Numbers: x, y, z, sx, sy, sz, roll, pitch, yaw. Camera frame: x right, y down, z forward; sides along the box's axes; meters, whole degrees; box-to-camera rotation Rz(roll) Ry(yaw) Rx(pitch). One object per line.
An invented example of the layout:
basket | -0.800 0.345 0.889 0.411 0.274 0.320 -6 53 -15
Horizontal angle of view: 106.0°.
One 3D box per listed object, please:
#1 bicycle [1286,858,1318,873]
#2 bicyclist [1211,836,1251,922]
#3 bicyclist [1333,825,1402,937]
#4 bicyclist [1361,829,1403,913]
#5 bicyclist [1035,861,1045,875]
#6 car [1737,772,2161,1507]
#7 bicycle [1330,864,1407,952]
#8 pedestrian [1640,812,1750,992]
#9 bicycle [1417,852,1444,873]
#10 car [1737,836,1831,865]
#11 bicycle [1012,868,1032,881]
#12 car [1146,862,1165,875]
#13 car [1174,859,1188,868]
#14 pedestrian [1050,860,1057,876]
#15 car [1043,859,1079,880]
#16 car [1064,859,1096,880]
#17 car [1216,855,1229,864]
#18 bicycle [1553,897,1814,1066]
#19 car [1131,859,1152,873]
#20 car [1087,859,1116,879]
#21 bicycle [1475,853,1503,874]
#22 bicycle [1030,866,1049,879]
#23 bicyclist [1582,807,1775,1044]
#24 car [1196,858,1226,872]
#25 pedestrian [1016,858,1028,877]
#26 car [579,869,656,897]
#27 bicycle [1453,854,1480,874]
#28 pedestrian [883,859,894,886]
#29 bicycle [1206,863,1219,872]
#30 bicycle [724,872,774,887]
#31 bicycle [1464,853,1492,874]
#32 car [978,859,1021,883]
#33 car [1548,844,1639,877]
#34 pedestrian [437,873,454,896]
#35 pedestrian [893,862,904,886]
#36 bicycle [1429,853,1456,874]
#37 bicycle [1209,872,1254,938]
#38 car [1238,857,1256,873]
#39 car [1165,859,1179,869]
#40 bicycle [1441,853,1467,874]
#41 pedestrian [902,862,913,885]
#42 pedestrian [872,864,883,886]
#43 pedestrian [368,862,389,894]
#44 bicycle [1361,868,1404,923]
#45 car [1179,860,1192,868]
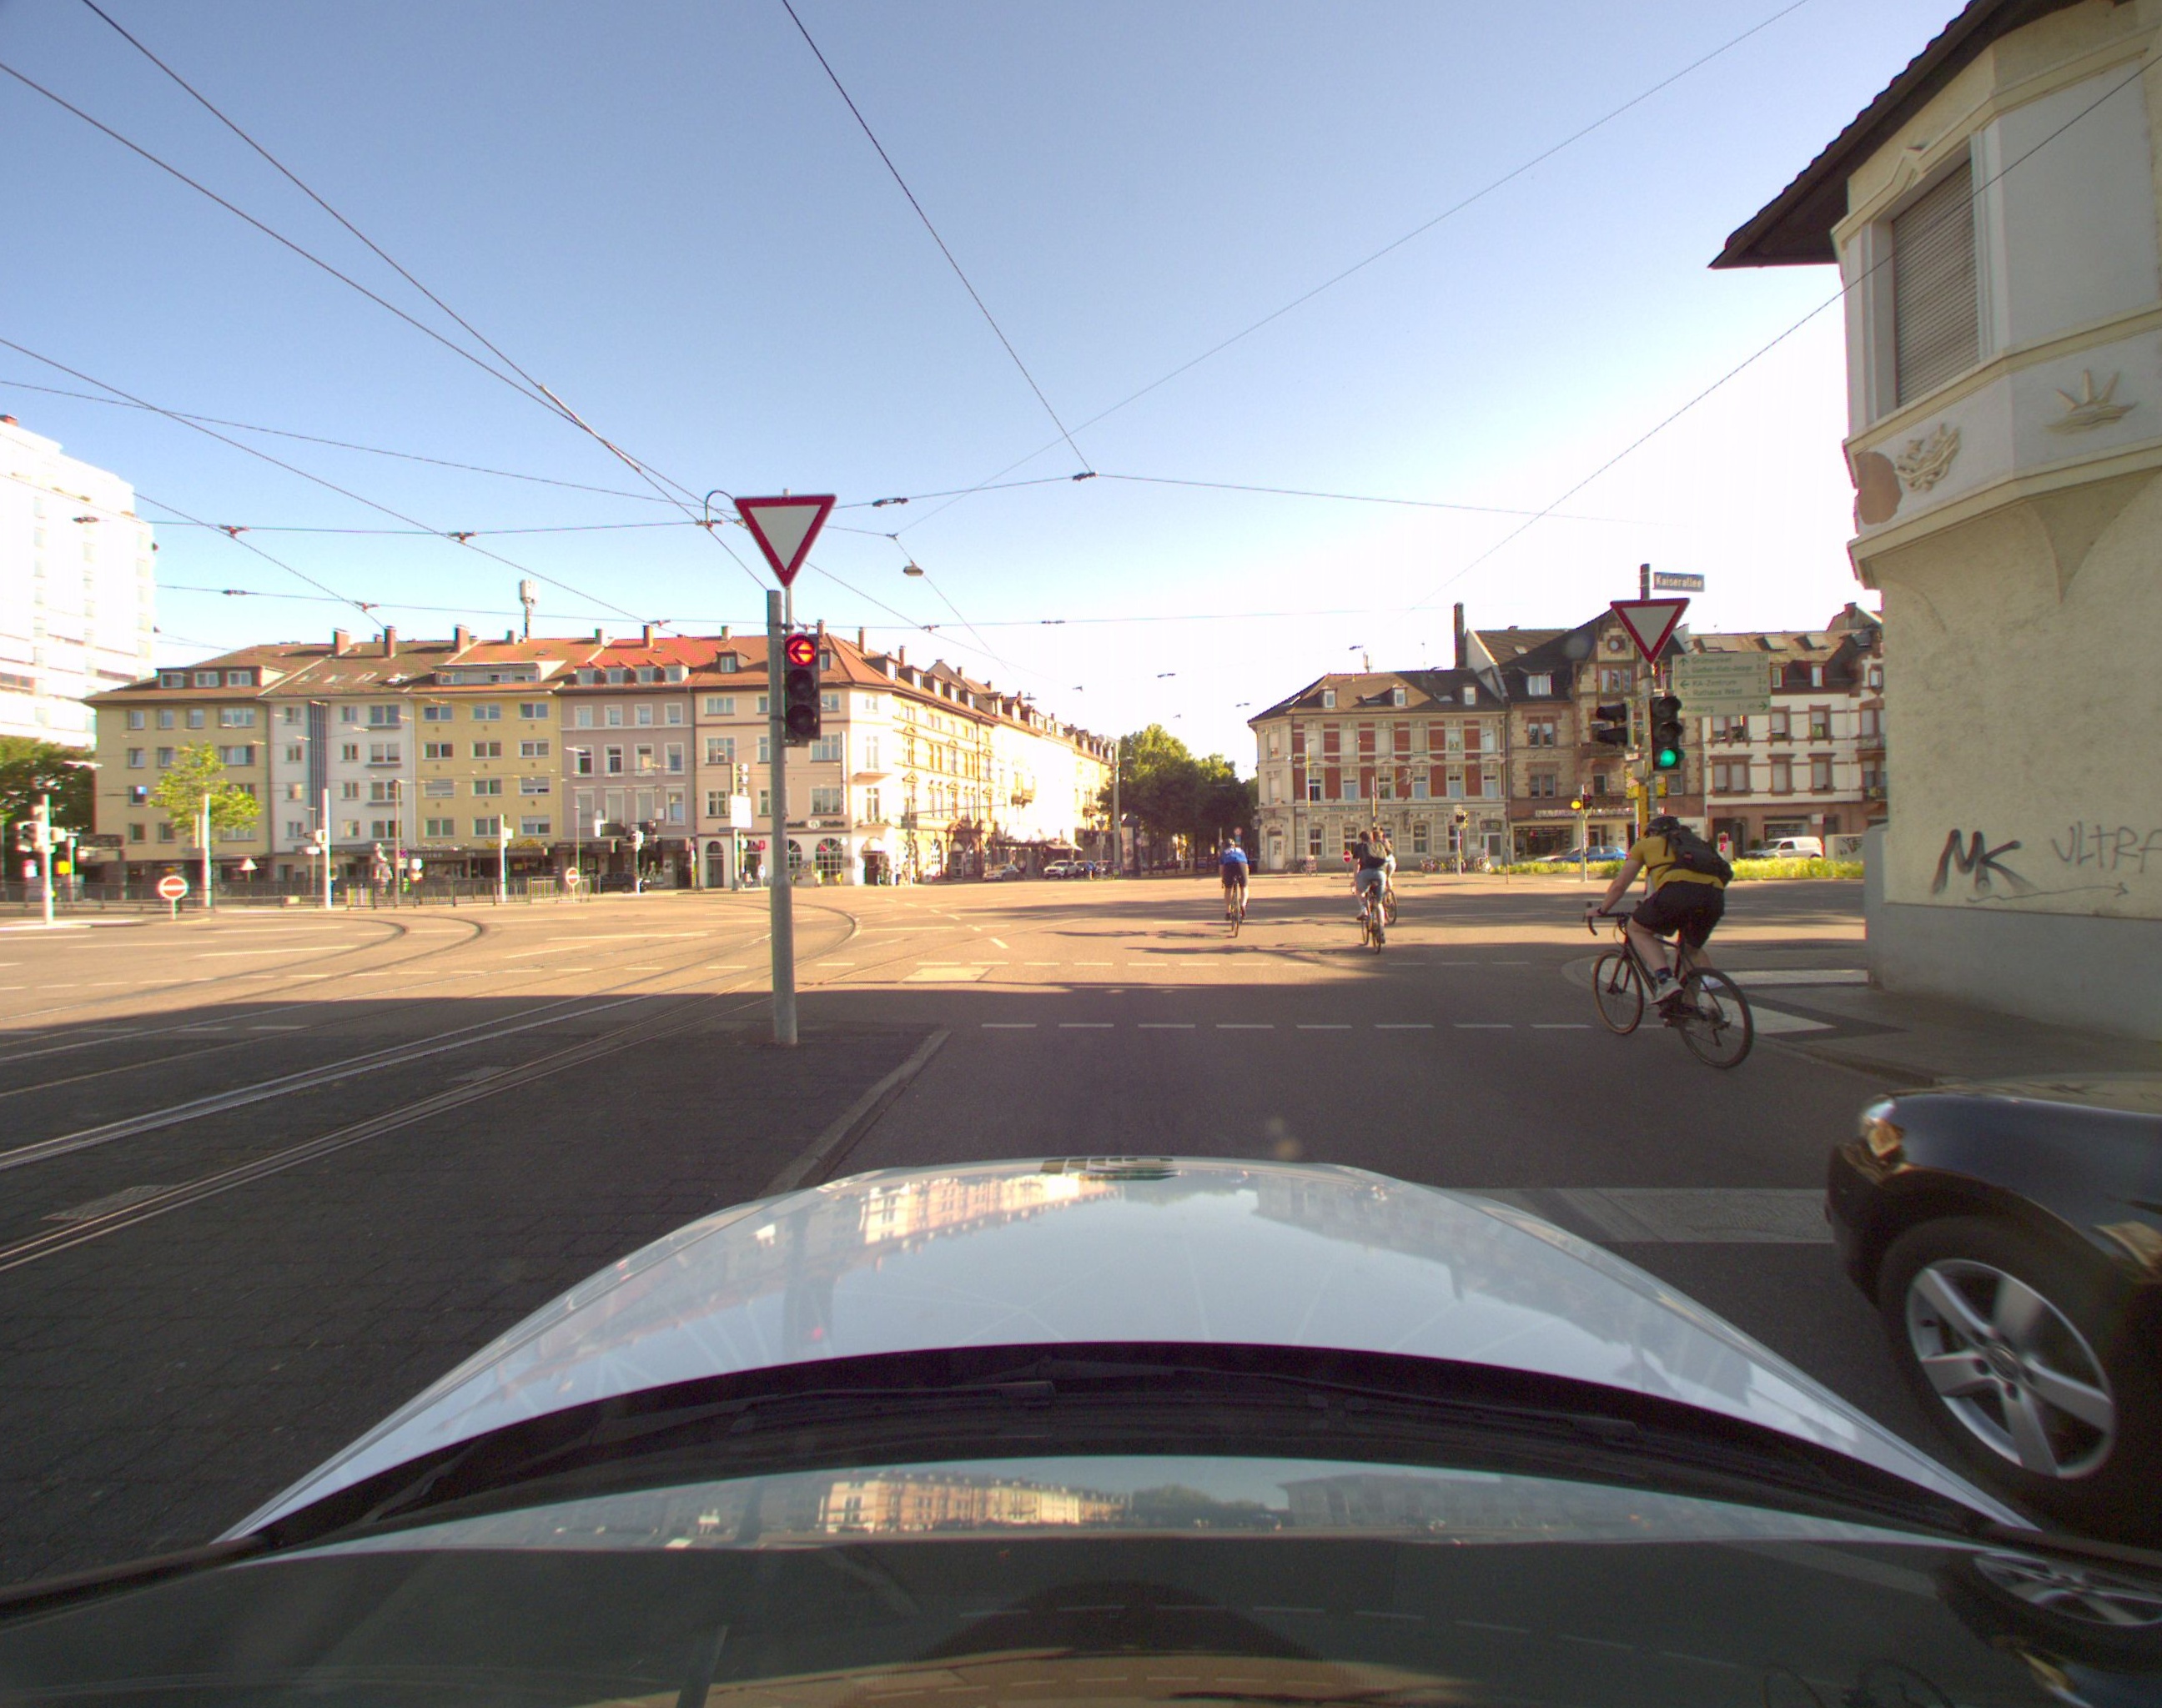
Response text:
bicycle | 15.429 0.779 56.855 2.040 0.998 0.631 -1 -1 4
bicyclist | 2.684 0.437 14.645 0.635 1.494 0.885 0 1 6
bicyclist | 4.294 0.397 12.251 0.801 1.606 0.885 0 -1 7
bicyclist | 6.066 0.338 16.432 0.684 1.633 0.887 -1 -1 14
bicyclist | -3.561 1.202 70.981 0.626 1.185 0.689 -1 -1 23
car | 3.045 0.604 0.750 1.722 1.508 4.053 0 1 2
bicycle | 4.341 0.782 12.413 0.751 1.236 1.706 -1 -1 7
pedestrian | 6.351 0.478 8.433 0.589 1.756 0.635 -5 -1 -37
bicycle | 22.485 0.559 52.475 0.689 1.287 2.663 0 -1 3
car | 45.308 -0.226 52.557 4.349 1.778 2.000 0 -1 1
bicycle | -4.734 1.640 65.548 0.756 1.008 2.406 -1 -1 16
car | 11.244 2.183 122.542 1.977 1.904 4.019 -1 -1 19
car | 16.667 1.599 135.818 1.546 1.513 3.673 -1 -1 19
pedestrian | -2.916 1.495 86.242 0.539 1.631 0.709 -1 -1 15
car | -1.614 1.270 67.530 1.979 1.618 4.015 -1 -1 14
car | -0.093 1.374 73.635 1.979 1.904 4.015 -1 -1 14
car | 23.281 0.928 134.319 1.546 1.513 3.673 -1 -1 19
bicycle | 4.484 0.890 6.260 0.752 1.031 1.782 0 -1 3
car | 8.398 1.630 112.682 1.977 1.904 4.019 -1 -1 19
car | 2.064 1.409 79.909 1.979 1.904 4.015 -1 -1 14
bicycle | 26.194 0.617 52.343 0.626 1.287 2.663 0 -1 3
bicycle | -3.606 1.626 70.872 0.644 1.123 2.265 -1 -1 23
bicyclist | 4.465 0.505 6.161 0.802 1.663 0.884 0 -1 2
car | 18.339 1.572 114.713 3.955 1.904 2.009 -1 -1 17
pedestrian | -4.762 1.110 65.480 0.814 1.512 0.601 -1 -1 16
car | -30.592 1.922 53.808 3.962 1.670 2.006 -2 0 10
bicycle | 24.771 0.632 52.376 0.626 1.287 2.663 0 -1 3
pedestrian | -13.620 1.282 57.567 0.631 1.881 0.465 0 -1 -2
bicycle | 15.994 1.657 98.853 0.630 1.085 1.687 0 -1 -28
bicycle | -23.428 1.794 57.456 3.118 0.980 1.002 0 -1 1
bicycle | 25.499 0.617 52.372 0.626 1.287 2.663 0 -1 3
car | -6.708 1.373 67.455 1.977 1.904 4.019 -1 -1 19
car | 28.339 0.347 45.126 3.769 1.778 2.000 0 -1 1
pedestrian | -44.707 2.145 57.321 0.631 1.634 0.700 0 -1 -2
pedestrian | -12.640 1.354 56.356 0.631 1.634 0.700 0 -1 -2
bicycle | 23.258 0.616 52.411 0.689 1.287 2.663 0 -1 3
bicycle | 2.685 0.882 14.690 0.623 1.085 1.705 0 -1 5
car | 16.816 1.122 82.352 1.680 1.565 3.855 -1 -1 14
car | 14.722 1.637 131.936 1.546 1.513 3.673 -1 -1 19
bicycle | 23.981 0.612 52.404 0.626 1.287 2.663 0 -1 3
pedestrian | -12.318 1.390 57.671 0.631 1.634 0.700 0 -1 -2
pedestrian | -14.141 1.461 56.674 0.631 1.477 0.465 0 -1 -2
pedestrian | -35.770 1.232 41.472 0.523 1.628 0.577 0 -1 0
bicycle | 6.102 0.815 16.548 0.644 1.031 1.778 -1 -1 15
car | 18.269 1.733 142.169 1.546 1.513 3.673 -1 -1 19
